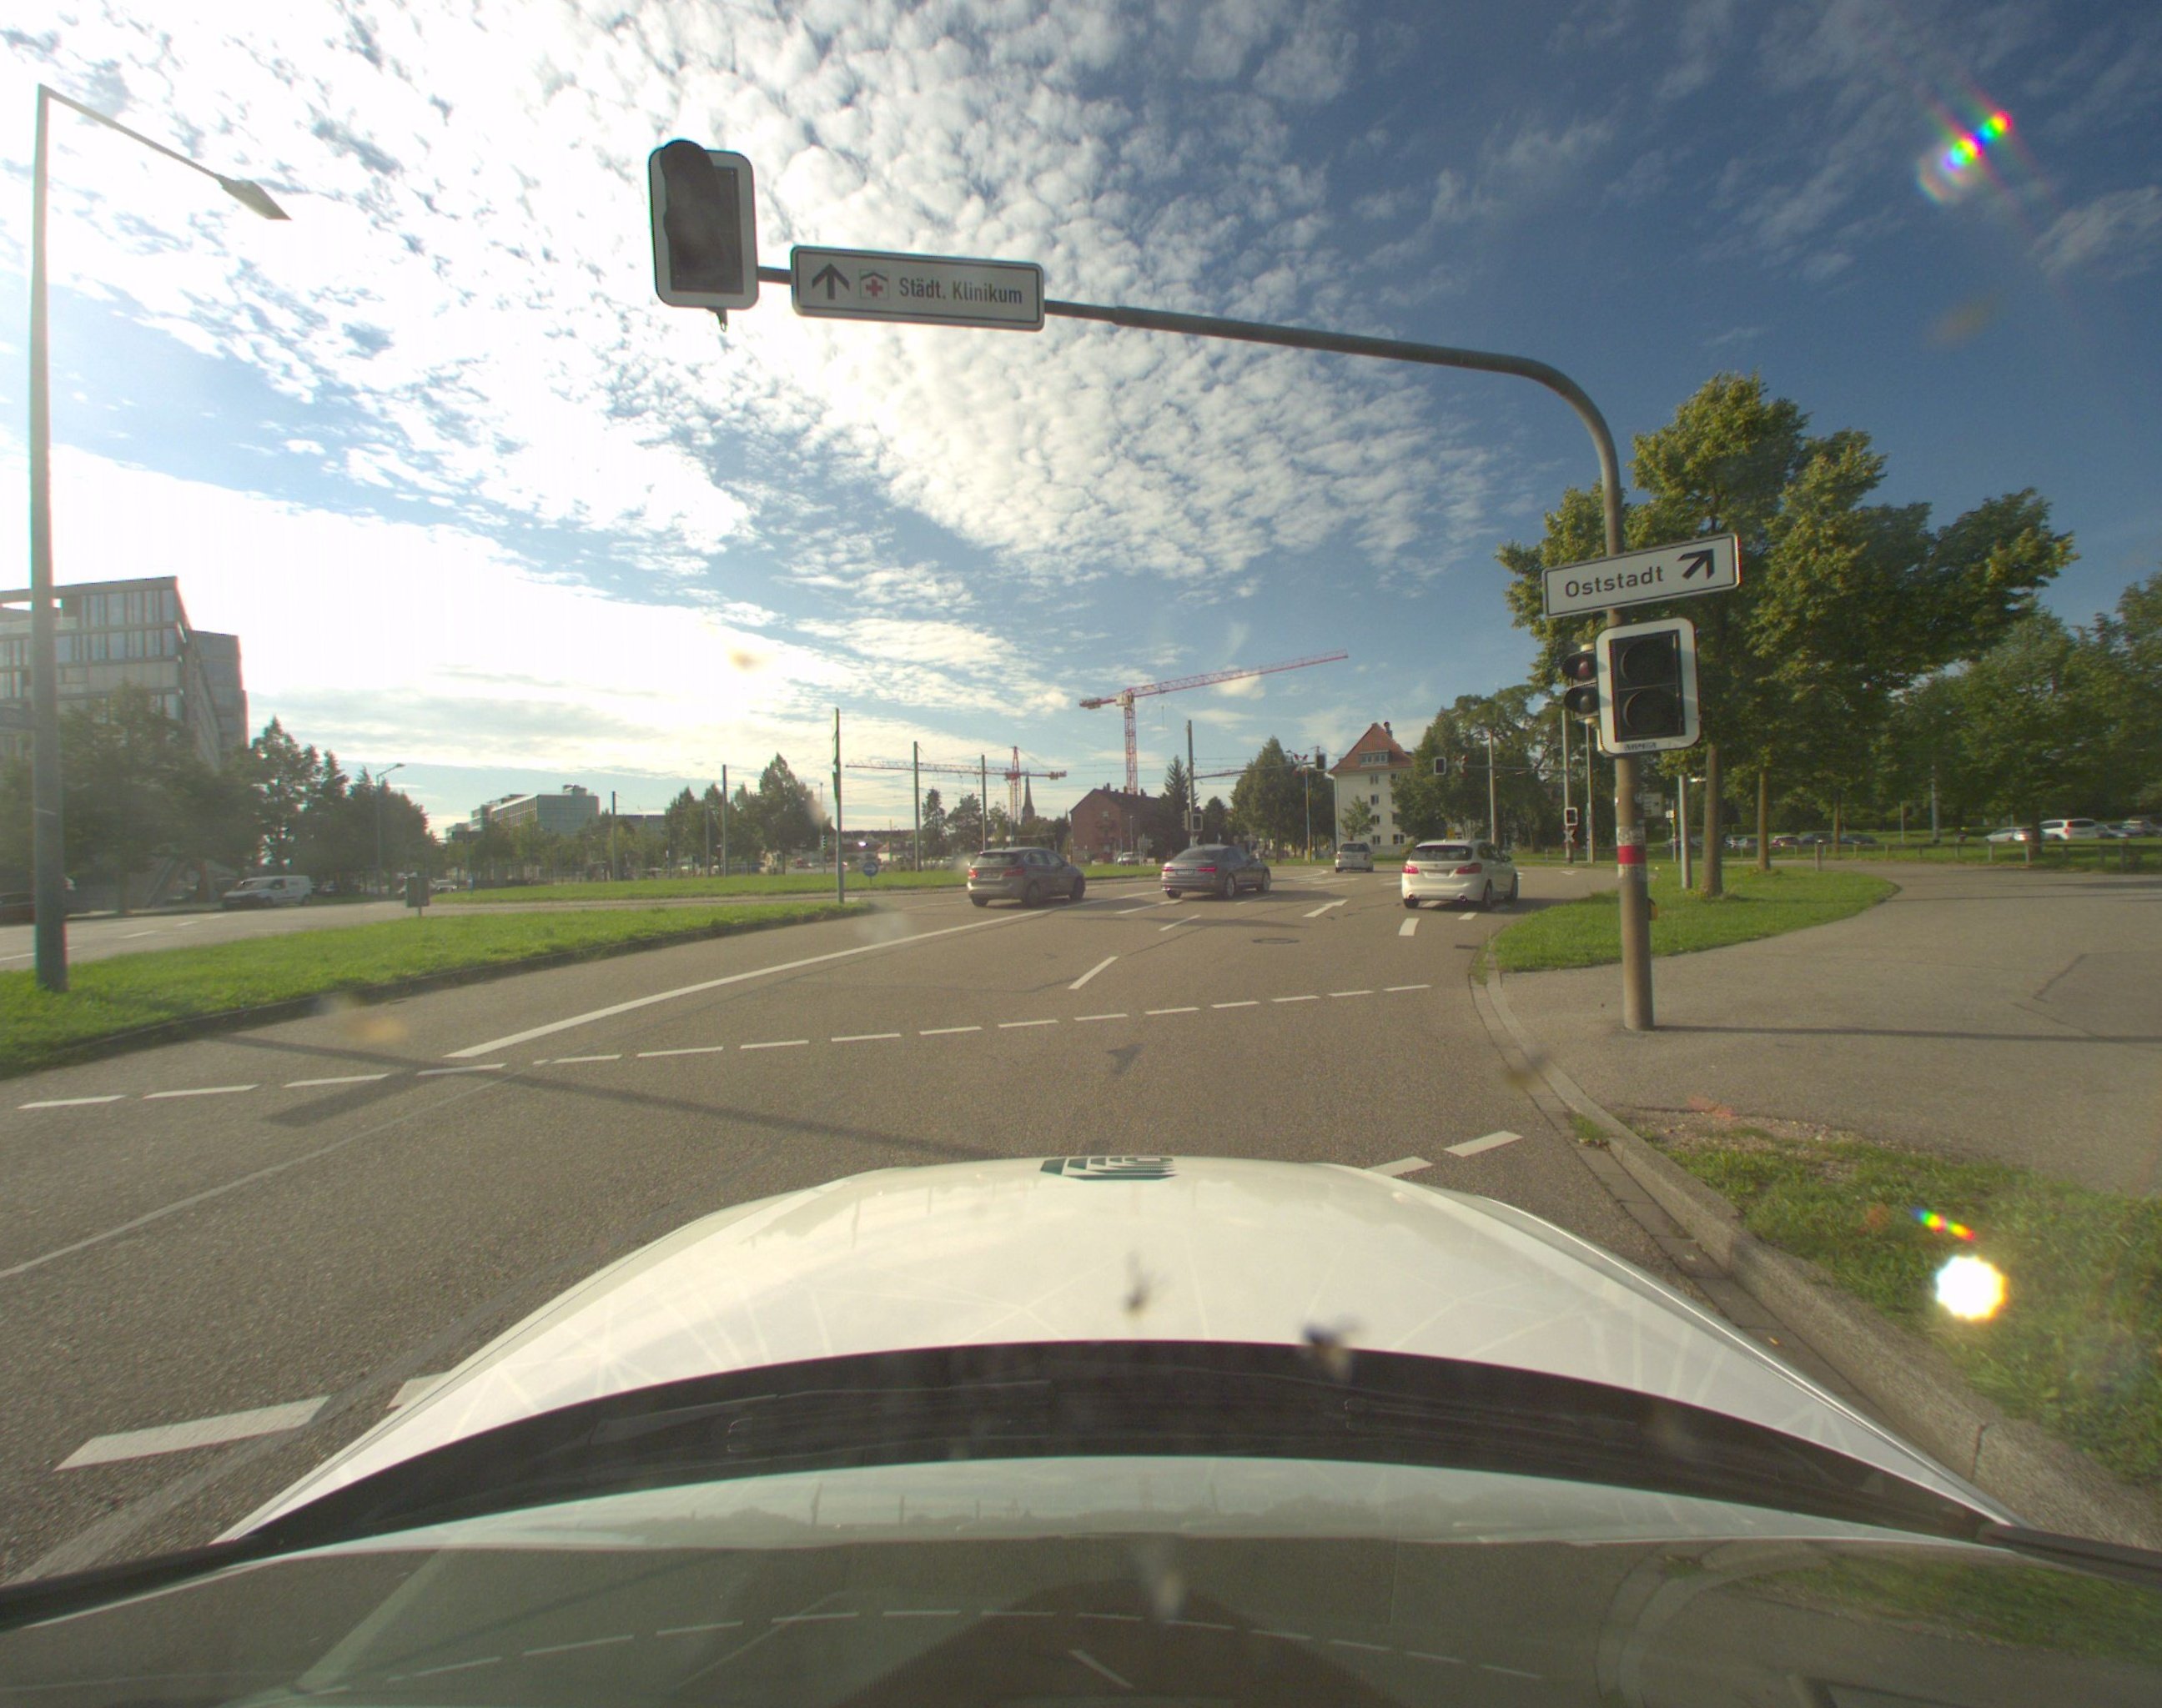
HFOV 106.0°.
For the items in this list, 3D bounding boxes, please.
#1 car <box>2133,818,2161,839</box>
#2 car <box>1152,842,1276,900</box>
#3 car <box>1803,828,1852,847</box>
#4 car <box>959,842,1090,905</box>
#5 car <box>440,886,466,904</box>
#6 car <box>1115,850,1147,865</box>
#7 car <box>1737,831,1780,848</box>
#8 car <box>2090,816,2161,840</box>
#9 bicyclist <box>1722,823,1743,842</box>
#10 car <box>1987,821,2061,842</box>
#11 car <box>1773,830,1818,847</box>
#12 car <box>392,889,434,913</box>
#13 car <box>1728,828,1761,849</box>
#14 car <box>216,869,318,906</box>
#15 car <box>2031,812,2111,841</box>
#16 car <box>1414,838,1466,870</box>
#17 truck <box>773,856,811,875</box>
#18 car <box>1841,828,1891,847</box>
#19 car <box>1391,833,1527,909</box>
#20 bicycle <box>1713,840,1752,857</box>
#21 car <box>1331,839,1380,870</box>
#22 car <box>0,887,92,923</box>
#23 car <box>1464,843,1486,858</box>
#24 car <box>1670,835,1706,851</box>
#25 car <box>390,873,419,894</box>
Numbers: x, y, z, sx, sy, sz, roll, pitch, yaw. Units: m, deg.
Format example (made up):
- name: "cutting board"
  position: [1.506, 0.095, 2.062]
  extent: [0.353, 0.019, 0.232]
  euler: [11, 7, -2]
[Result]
- name: "car"
  position: [82.535, -1.963, 61.836]
  extent: [2.010, 1.515, 4.138]
  euler: [-2, -1, 35]
- name: "car"
  position: [4.016, 0.433, 23.935]
  extent: [1.832, 1.444, 4.745]
  euler: [-1, 1, 32]
- name: "car"
  position: [64.516, -1.416, 70.447]
  extent: [1.838, 1.515, 4.975]
  euler: [-2, -1, 27]
- name: "car"
  position: [-1.451, 0.504, 22.499]
  extent: [1.751, 1.572, 4.091]
  euler: [-1, 0, 26]
- name: "car"
  position: [-58.746, 3.847, 76.131]
  extent: [1.694, 1.501, 3.947]
  euler: [-4, 0, -40]
- name: "car"
  position: [6.483, 0.393, 106.027]
  extent: [1.877, 1.903, 4.691]
  euler: [-1, 0, 37]
- name: "car"
  position: [60.492, -1.290, 72.779]
  extent: [1.838, 1.358, 4.863]
  euler: [-2, -1, 27]
- name: "car"
  position: [80.643, -1.979, 62.946]
  extent: [2.075, 1.674, 4.498]
  euler: [-2, -1, 35]
- name: "bicyclist"
  position: [49.696, -1.645, 62.112]
  extent: [1.000, 1.355, 0.713]
  euler: [-2, 0, -5]
- name: "car"
  position: [75.230, -1.796, 65.085]
  extent: [1.839, 1.515, 4.491]
  euler: [-2, -1, 20]
- name: "car"
  position: [62.702, -1.368, 71.546]
  extent: [1.838, 1.363, 4.496]
  euler: [-2, -1, 27]
- name: "car"
  position: [-49.909, 3.490, 60.888]
  extent: [1.691, 1.501, 3.956]
  euler: [-4, 0, -29]
- name: "car"
  position: [67.224, -1.531, 82.574]
  extent: [1.854, 2.014, 4.840]
  euler: [0, -1, 29]
- name: "car"
  position: [-45.390, 1.825, 45.572]
  extent: [1.681, 1.824, 4.543]
  euler: [-4, 0, -11]
- name: "car"
  position: [77.821, -2.117, 64.131]
  extent: [2.287, 2.007, 5.145]
  euler: [-2, -1, 30]
- name: "car"
  position: [17.507, 0.008, 39.919]
  extent: [1.836, 1.426, 4.475]
  euler: [-1, 0, 17]
- name: "truck"
  position: [-50.168, 2.024, 141.350]
  extent: [7.221, 3.207, 2.834]
  euler: [-2, -1, 40]
- name: "car"
  position: [66.934, -1.386, 69.523]
  extent: [1.838, 1.515, 4.496]
  euler: [-2, -1, 27]
- name: "car"
  position: [8.986, 0.353, 19.159]
  extent: [1.832, 1.572, 4.483]
  euler: [-1, 0, 39]
- name: "bicycle"
  position: [49.645, -0.408, 62.082]
  extent: [2.516, 1.222, 0.713]
  euler: [-2, 0, -5]
- name: "car"
  position: [13.984, 0.020, 41.325]
  extent: [1.833, 1.478, 4.481]
  euler: [-1, 0, 26]
- name: "car"
  position: [-47.040, 2.282, 35.882]
  extent: [1.751, 1.420, 4.015]
  euler: [-2, 0, 13]
- name: "car"
  position: [39.761, -0.385, 82.188]
  extent: [1.838, 1.381, 4.542]
  euler: [-2, -1, 27]
- name: "car"
  position: [55.584, -1.017, 74.639]
  extent: [1.838, 1.359, 4.762]
  euler: [-2, -1, 27]
- name: "car"
  position: [-76.733, 3.361, 92.461]
  extent: [2.076, 2.263, 5.956]
  euler: [-4, 0, -36]
